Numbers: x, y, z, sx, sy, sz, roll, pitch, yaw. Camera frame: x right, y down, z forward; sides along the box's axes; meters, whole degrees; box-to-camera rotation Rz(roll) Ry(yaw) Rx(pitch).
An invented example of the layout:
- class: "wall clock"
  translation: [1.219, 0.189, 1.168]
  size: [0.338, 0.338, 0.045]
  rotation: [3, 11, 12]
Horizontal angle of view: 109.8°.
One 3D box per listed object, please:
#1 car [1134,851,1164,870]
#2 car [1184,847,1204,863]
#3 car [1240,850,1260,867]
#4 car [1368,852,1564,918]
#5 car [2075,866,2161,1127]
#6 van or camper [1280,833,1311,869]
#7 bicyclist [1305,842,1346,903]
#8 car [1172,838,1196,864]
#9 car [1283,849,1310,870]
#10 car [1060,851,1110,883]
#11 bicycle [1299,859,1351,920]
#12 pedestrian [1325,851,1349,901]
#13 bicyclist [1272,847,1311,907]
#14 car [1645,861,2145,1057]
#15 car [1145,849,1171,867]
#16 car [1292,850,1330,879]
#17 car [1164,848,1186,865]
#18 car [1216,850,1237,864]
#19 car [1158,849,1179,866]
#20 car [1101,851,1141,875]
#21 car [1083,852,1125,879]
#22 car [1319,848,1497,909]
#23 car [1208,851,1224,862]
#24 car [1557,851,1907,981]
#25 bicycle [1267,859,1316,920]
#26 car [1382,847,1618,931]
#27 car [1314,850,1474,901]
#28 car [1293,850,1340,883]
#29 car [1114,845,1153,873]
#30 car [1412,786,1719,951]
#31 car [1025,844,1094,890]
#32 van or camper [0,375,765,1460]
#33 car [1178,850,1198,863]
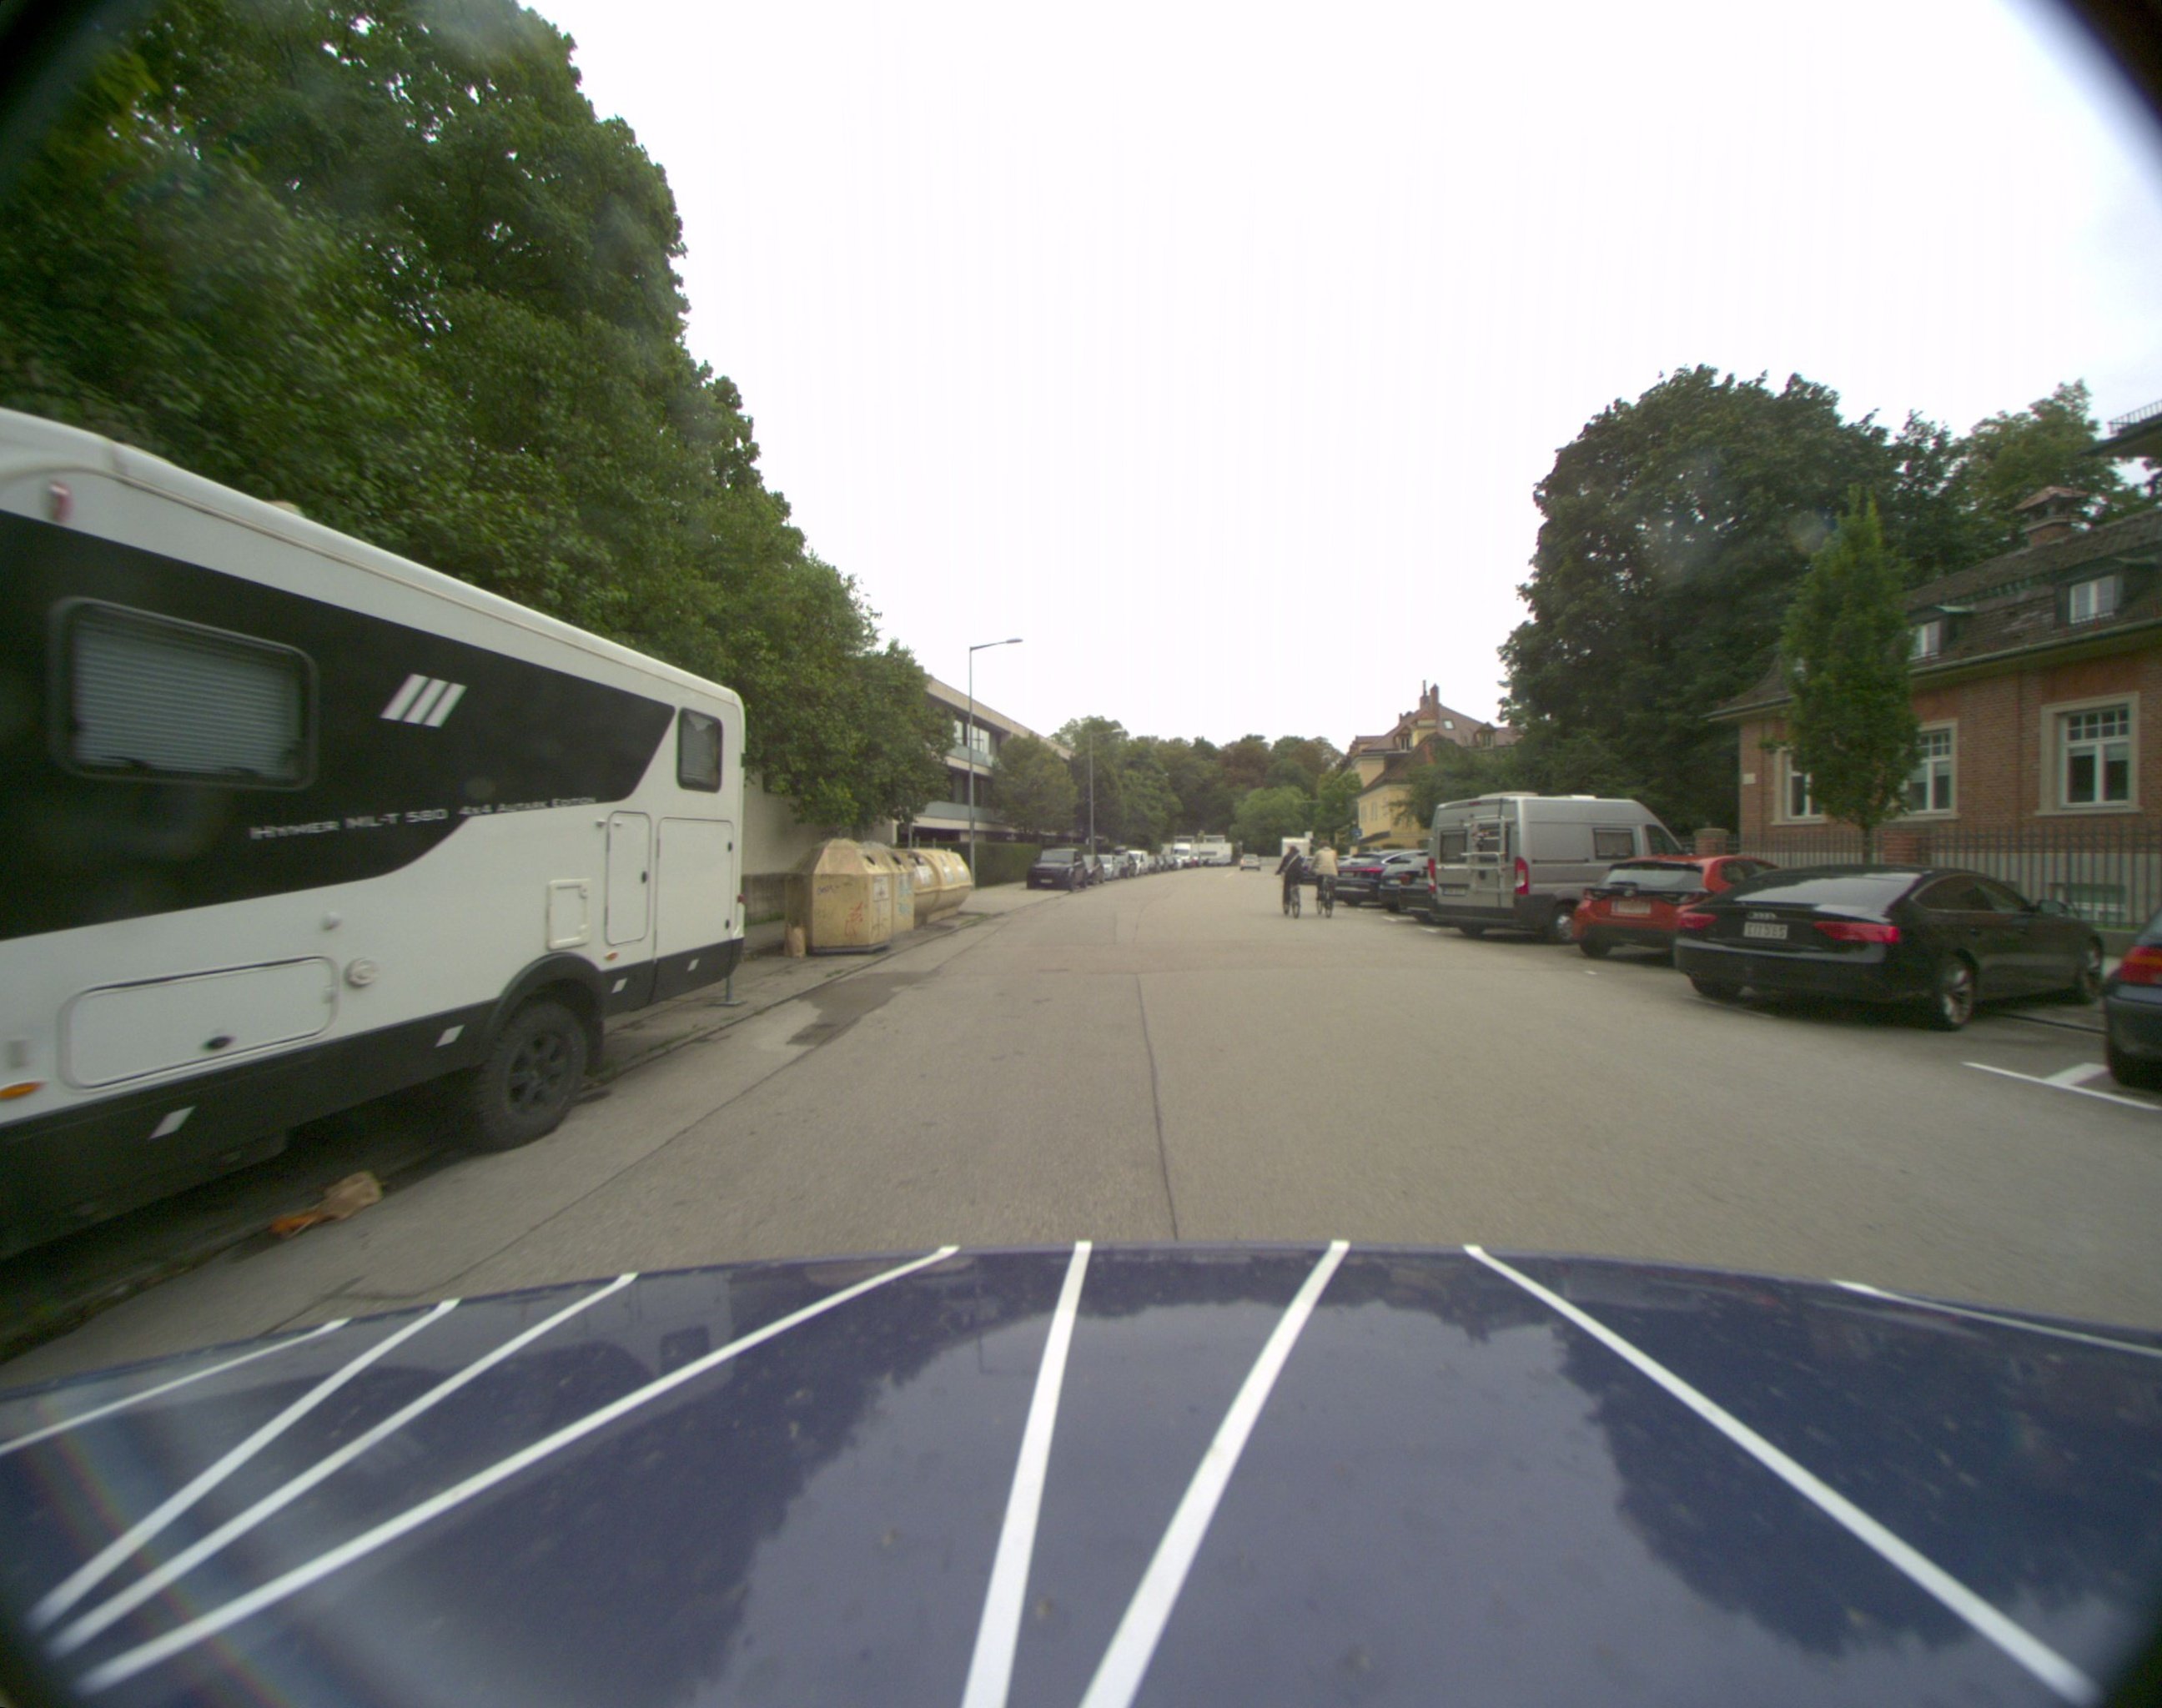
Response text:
- class: "car"
  translation: [5.457, 0.484, 60.307]
  size: [1.750, 1.455, 4.247]
  rotation: [0, 0, 13]
- class: "car"
  translation: [14.067, 0.099, 94.439]
  size: [1.937, 1.894, 5.078]
  rotation: [2, 0, 15]
- class: "car"
  translation: [15.450, 0.388, 69.553]
  size: [1.775, 1.466, 4.137]
  rotation: [-1, 0, 12]
- class: "car"
  translation: [9.731, 0.742, 19.253]
  size: [4.427, 1.478, 1.830]
  rotation: [0, 2, -19]
- class: "car"
  translation: [8.311, 0.826, 4.671]
  size: [4.534, 1.442, 1.816]
  rotation: [1, 1, -27]
- class: "van or camper"
  translation: [18.897, -0.295, 67.069]
  size: [2.458, 2.924, 7.219]
  rotation: [1, 1, 15]
- class: "bicyclist"
  translation: [5.679, 0.413, 17.667]
  size: [0.698, 1.389, 0.930]
  rotation: [0, 1, 5]
- class: "car"
  translation: [11.301, -0.316, 83.298]
  size: [2.082, 2.671, 6.094]
  rotation: [2, 0, 12]
- class: "car"
  translation: [16.792, 0.436, 59.313]
  size: [1.781, 1.526, 4.232]
  rotation: [2, 1, 14]
- class: "car"
  translation: [0.260, 0.641, 39.559]
  size: [1.750, 1.530, 4.573]
  rotation: [-1, 0, 11]
- class: "bicycle"
  translation: [5.676, 0.793, 17.794]
  size: [0.709, 1.298, 2.119]
  rotation: [0, 1, 5]
- class: "pedestrian"
  translation: [8.599, 0.718, 25.506]
  size: [0.591, 1.638, 0.714]
  rotation: [1, 1, 6]
- class: "bicyclist"
  translation: [4.838, 0.507, 17.476]
  size: [0.698, 1.344, 0.930]
  rotation: [0, 1, 4]
- class: "car"
  translation: [8.044, 0.812, 7.508]
  size: [4.533, 1.442, 1.973]
  rotation: [0, 0, -24]
- class: "car"
  translation: [6.674, 0.340, 65.512]
  size: [1.729, 1.520, 4.209]
  rotation: [1, 0, 13]
- class: "car"
  translation: [13.148, 0.572, 43.637]
  size: [1.847, 1.526, 4.526]
  rotation: [2, 1, 14]
- class: "car"
  translation: [9.528, 0.260, 76.826]
  size: [1.873, 1.560, 5.006]
  rotation: [2, 0, 11]
- class: "car"
  translation: [18.739, 0.419, 97.845]
  size: [1.996, 1.683, 4.341]
  rotation: [-1, -1, 19]
- class: "car"
  translation: [8.147, 0.359, 70.766]
  size: [1.283, 1.497, 5.213]
  rotation: [2, 0, 14]
- class: "car"
  translation: [2.682, 0.559, 49.619]
  size: [1.750, 1.472, 4.602]
  rotation: [-1, 0, 14]
- class: "car"
  translation: [1.405, 0.653, 45.176]
  size: [1.750, 1.472, 3.892]
  rotation: [0, 0, 13]
- class: "car"
  translation: [9.338, 0.660, 21.722]
  size: [4.531, 1.584, 1.961]
  rotation: [1, 1, -20]
- class: "car"
  translation: [18.660, 0.369, 104.957]
  size: [1.895, 1.437, 4.272]
  rotation: [-3, -2, 7]
- class: "car"
  translation: [9.326, 0.745, 10.910]
  size: [4.532, 1.508, 1.933]
  rotation: [-1, 1, -22]
- class: "bicycle"
  translation: [4.820, 0.782, 17.536]
  size: [0.708, 1.298, 2.119]
  rotation: [0, 1, 5]
- class: "car"
  translation: [9.093, 0.693, 16.550]
  size: [4.531, 1.616, 1.963]
  rotation: [0, 2, -20]
- class: "car"
  translation: [9.961, 0.655, 24.419]
  size: [4.342, 1.521, 1.933]
  rotation: [0, 2, 0]
- class: "car"
  translation: [11.976, 0.594, 38.855]
  size: [1.848, 1.526, 4.566]
  rotation: [2, 1, 12]
- class: "car"
  translation: [3.832, 0.351, 54.645]
  size: [1.825, 1.849, 4.903]
  rotation: [-2, 0, 15]
- class: "car"
  translation: [8.590, 0.232, 13.559]
  size: [4.642, 2.548, 2.230]
  rotation: [0, 0, -20]
- class: "car"
  translation: [-0.854, 0.534, 34.297]
  size: [1.991, 1.860, 5.081]
  rotation: [-1, 1, 11]
- class: "van or camper"
  translation: [-3.988, 0.167, 2.874]
  size: [2.278, 2.889, 7.277]
  rotation: [-1, 0, 2]
- class: "car"
  translation: [12.624, 0.273, 89.399]
  size: [1.873, 1.498, 4.843]
  rotation: [2, 0, 12]
